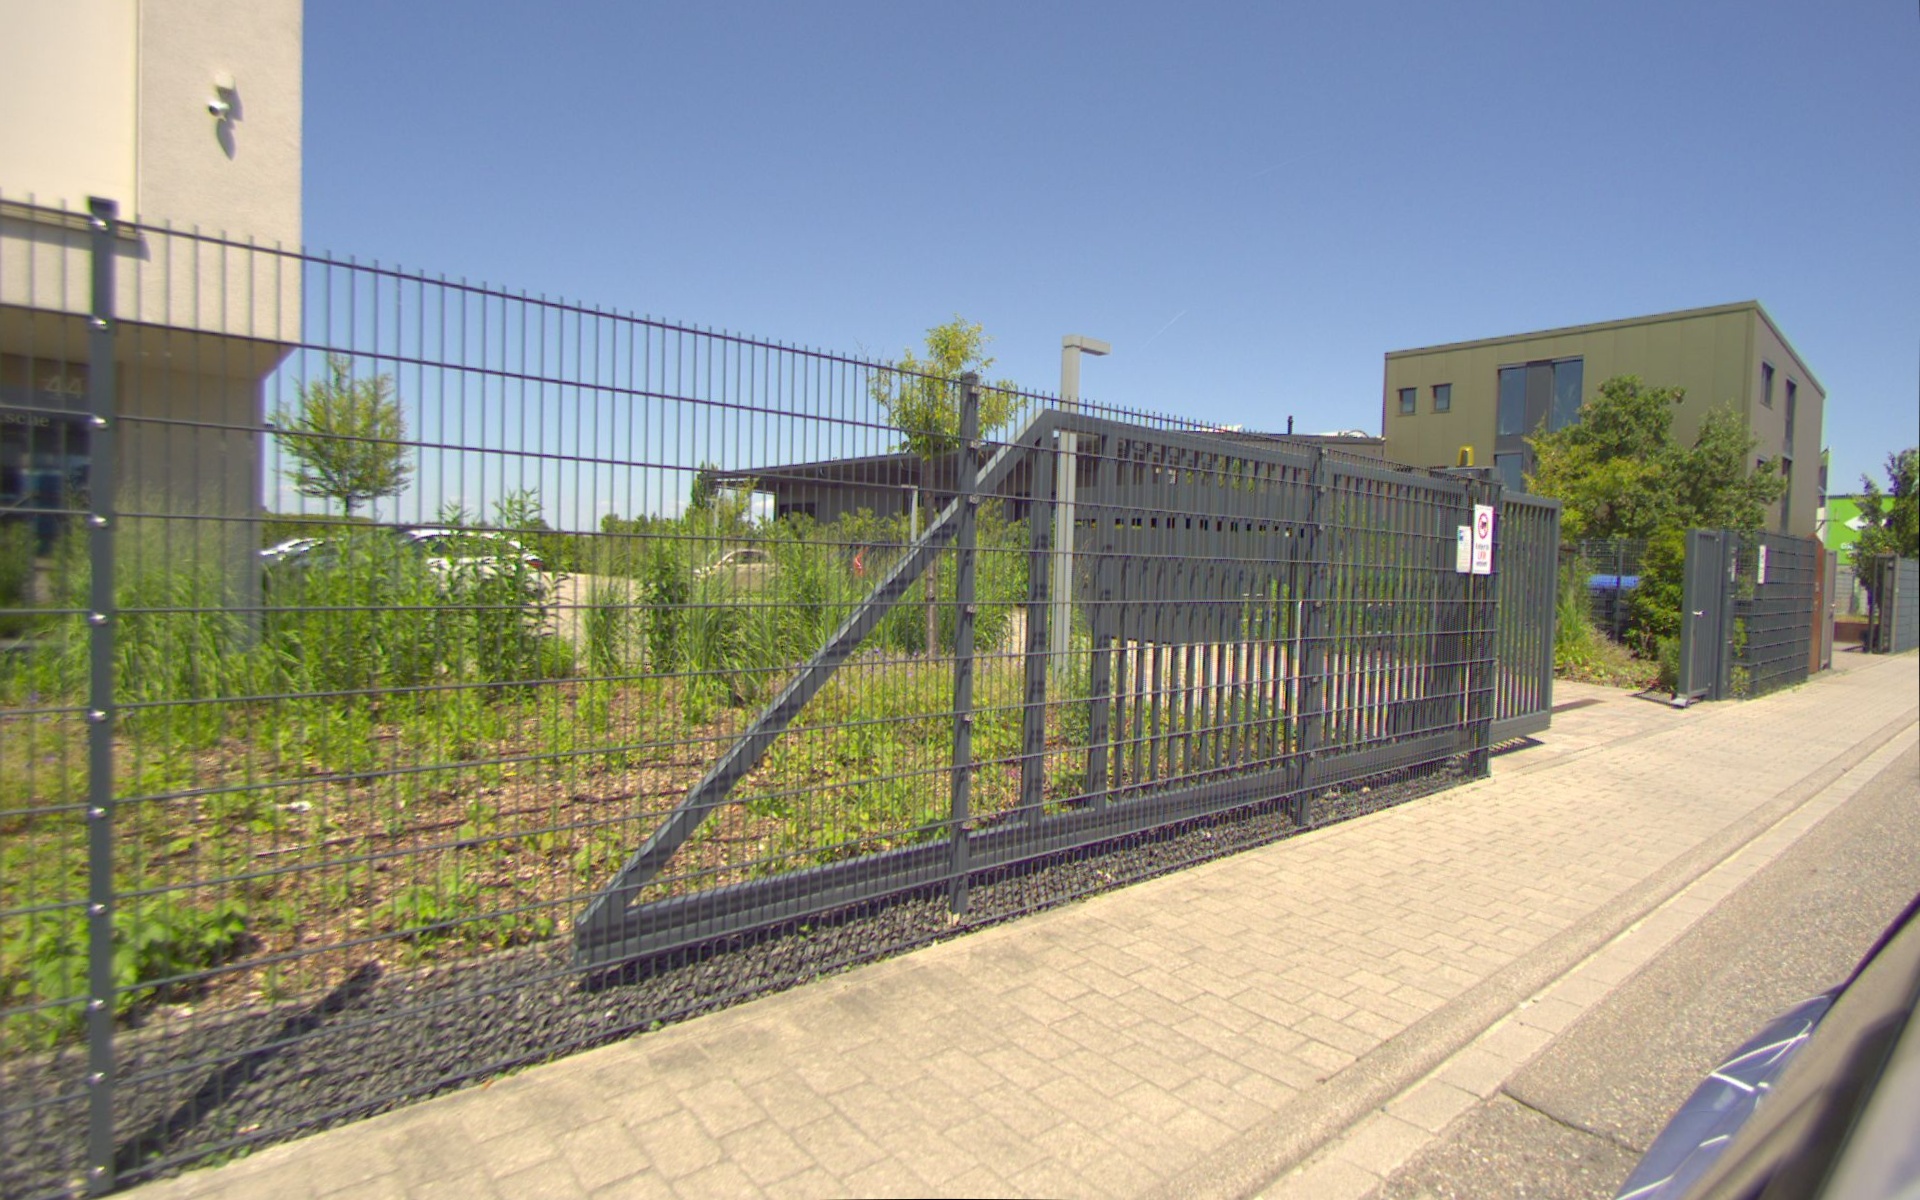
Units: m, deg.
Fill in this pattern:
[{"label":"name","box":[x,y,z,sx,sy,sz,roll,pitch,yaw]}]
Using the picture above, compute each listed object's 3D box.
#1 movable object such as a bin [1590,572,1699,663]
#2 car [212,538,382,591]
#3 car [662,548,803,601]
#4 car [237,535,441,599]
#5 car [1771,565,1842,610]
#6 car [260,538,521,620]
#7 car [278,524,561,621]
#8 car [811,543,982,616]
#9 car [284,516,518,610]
[{"label":"movable object such as a bin","box":[11.958,0.278,17.692,0.932,1.477,1.337,0,2,-41]},{"label":"car","box":[-21.803,-1.157,33.376,4.441,1.504,1.997,2,1,-42]},{"label":"car","box":[-7.163,-0.794,31.981,3.930,1.579,1.870,0,2,-41]},{"label":"car","box":[-16.882,-0.867,27.639,4.441,1.504,1.997,2,1,-42]},{"label":"car","box":[51.942,-0.778,62.034,6.903,2.524,2.134,0,4,-41]},{"label":"car","box":[-11.899,-0.417,21.318,4.441,1.504,1.997,2,1,-42]},{"label":"car","box":[-10.286,-0.486,19.456,4.441,1.608,1.997,2,1,-42]},{"label":"car","box":[-1.544,-0.519,25.375,3.930,1.694,1.870,0,2,-41]},{"label":"car","box":[-13.037,-0.818,23.770,4.441,1.914,1.997,2,1,-42]}]
